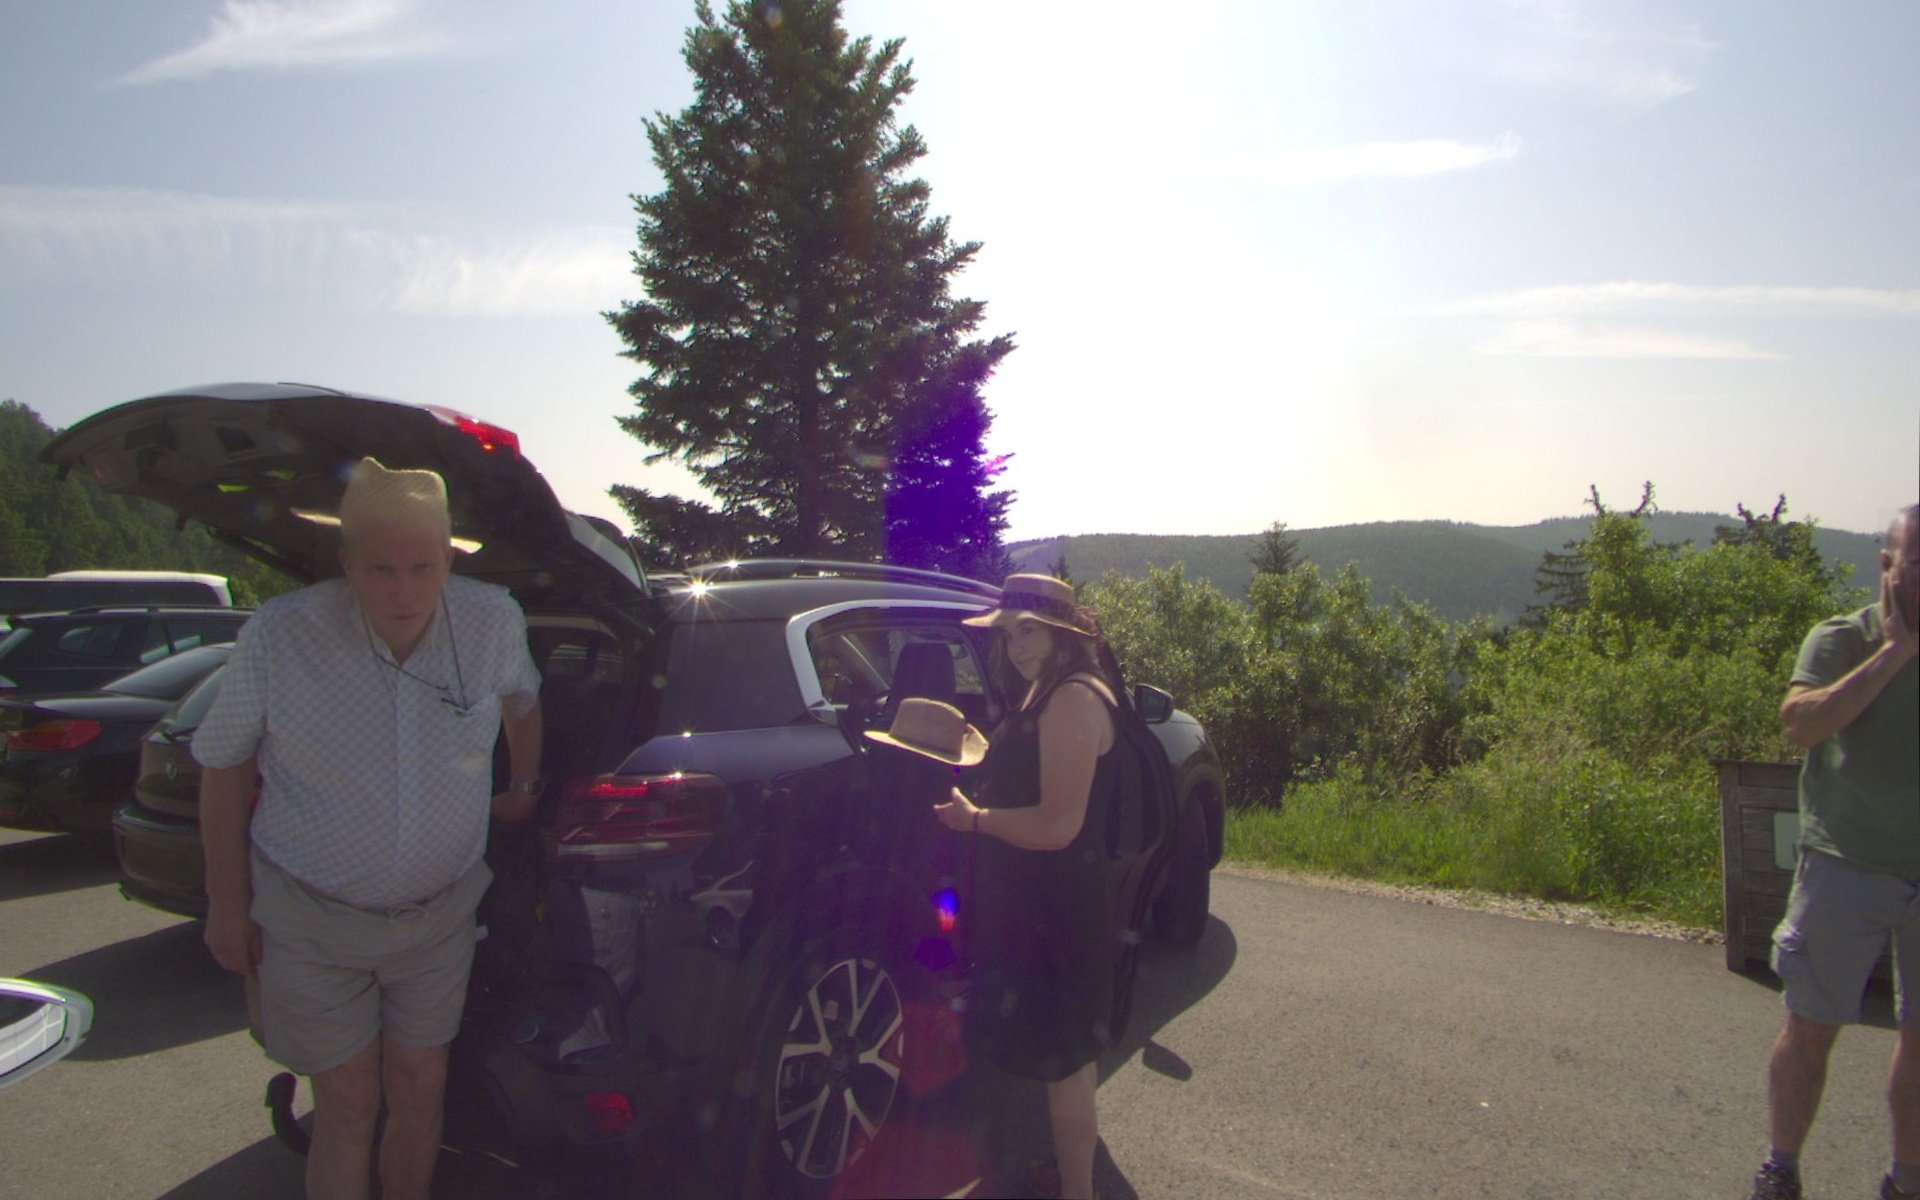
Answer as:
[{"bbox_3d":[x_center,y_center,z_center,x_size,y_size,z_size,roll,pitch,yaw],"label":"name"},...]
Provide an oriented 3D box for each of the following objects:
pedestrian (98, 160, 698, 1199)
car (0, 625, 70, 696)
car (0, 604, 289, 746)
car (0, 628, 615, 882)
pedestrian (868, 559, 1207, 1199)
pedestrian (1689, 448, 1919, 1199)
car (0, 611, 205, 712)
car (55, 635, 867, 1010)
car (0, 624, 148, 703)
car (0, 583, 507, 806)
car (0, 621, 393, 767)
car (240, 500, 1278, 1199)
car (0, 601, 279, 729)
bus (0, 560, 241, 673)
[{"bbox_3d":[-1.043,0.361,1.875,0.728,1.896,0.752,2,1,40],"label":"pedestrian"},{"bbox_3d":[-21.504,1.333,21.014,1.839,1.468,3.969,-1,0,39],"label":"car"},{"bbox_3d":[-11.343,0.905,12.802,1.816,1.574,4.224,-1,0,39],"label":"car"},{"bbox_3d":[-4.872,0.931,7.668,1.678,1.394,4.074,-1,-2,33],"label":"car"},{"bbox_3d":[0.211,0.753,2.393,0.529,1.633,0.713,-2,-1,30],"label":"pedestrian"},{"bbox_3d":[2.261,0.602,2.340,0.736,1.823,0.733,-1,-1,26],"label":"pedestrian"},{"bbox_3d":[-15.885,1.048,17.526,1.640,1.574,3.969,-1,1,39],"label":"car"},{"bbox_3d":[-2.407,0.909,5.931,1.677,1.394,4.077,-1,-2,30],"label":"car"},{"bbox_3d":[-18.647,1.253,19.642,1.601,1.417,3.969,-1,0,39],"label":"car"},{"bbox_3d":[-7.174,0.727,9.447,1.923,1.718,4.923,-1,0,41],"label":"car"},{"bbox_3d":[-9.103,0.963,11.407,1.816,1.286,4.224,-1,0,39],"label":"car"},{"bbox_3d":[-0.192,0.759,4.301,1.844,1.646,4.336,-2,-4,34],"label":"car"},{"bbox_3d":[-13.334,0.919,14.804,2.023,1.673,5.011,-1,0,39],"label":"car"},{"bbox_3d":[-31.623,0.556,32.683,12.989,3.580,3.017,-2,1,-41],"label":"bus"}]
